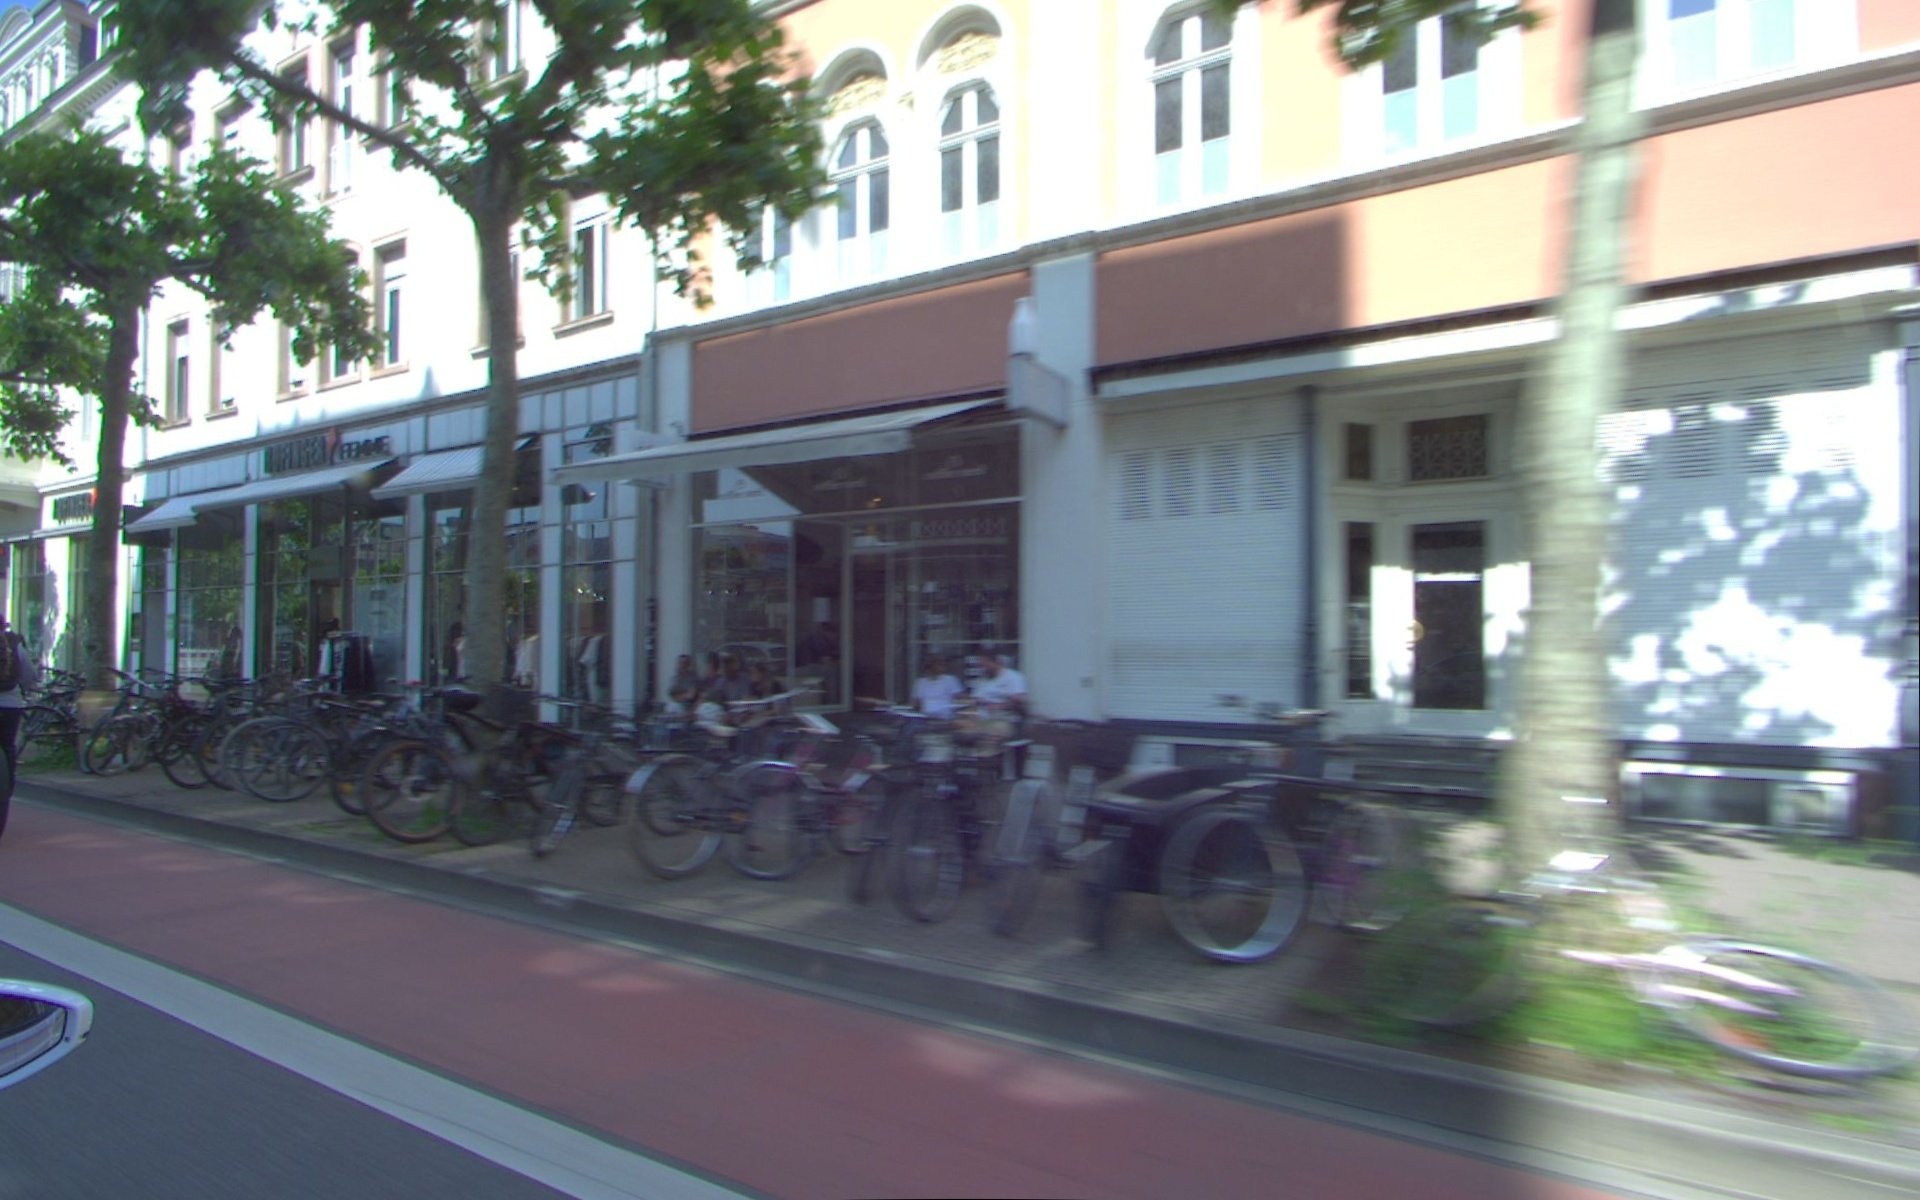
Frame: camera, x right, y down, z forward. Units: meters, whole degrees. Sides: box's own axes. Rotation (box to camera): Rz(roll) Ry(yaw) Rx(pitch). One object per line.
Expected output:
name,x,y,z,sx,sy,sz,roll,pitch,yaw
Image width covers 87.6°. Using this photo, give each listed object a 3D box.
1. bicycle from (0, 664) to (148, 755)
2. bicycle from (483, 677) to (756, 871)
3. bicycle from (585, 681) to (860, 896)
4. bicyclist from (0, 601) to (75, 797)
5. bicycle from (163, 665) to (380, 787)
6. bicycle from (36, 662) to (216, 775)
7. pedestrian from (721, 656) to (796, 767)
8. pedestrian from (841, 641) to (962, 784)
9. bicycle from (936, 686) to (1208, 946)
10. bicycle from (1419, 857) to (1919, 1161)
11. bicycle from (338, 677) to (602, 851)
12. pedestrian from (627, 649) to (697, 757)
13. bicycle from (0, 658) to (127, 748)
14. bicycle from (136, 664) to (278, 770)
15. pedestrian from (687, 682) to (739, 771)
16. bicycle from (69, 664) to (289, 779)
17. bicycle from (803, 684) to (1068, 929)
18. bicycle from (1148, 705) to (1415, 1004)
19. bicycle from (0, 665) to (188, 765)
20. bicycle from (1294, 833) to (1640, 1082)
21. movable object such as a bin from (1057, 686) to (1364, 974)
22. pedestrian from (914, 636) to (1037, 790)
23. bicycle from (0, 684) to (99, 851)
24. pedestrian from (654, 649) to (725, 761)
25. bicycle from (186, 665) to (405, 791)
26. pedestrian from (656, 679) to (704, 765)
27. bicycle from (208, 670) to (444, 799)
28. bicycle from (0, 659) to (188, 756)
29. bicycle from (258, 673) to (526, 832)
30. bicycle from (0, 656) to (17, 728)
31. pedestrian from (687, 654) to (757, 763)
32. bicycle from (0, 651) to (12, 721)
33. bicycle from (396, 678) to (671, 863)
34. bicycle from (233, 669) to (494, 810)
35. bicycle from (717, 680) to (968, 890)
bicycle,-11.801,1.403,13.041,0.555,1.106,1.844,0,-4,21
bicycle,-2.350,1.150,7.153,0.657,1.141,1.837,-2,-3,33
bicycle,-1.482,1.138,6.595,0.634,1.141,1.837,-2,-3,33
bicyclist,-7.569,0.755,7.769,0.946,1.463,0.698,-1,-4,28
bicycle,-7.133,1.262,10.481,0.442,1.141,1.836,-2,-3,34
bicycle,-9.321,1.281,11.298,0.582,1.141,1.847,0,-3,-4
pedestrian,-2.425,1.324,12.067,0.599,1.269,0.638,-2,-1,29
pedestrian,-0.617,1.180,10.908,0.778,1.440,1.232,-2,-2,29
bicycle,0.697,1.092,5.629,0.658,1.141,1.833,-2,-3,38
bicycle,2.996,1.560,3.981,1.823,0.440,1.137,-9,6,6
bicycle,-3.713,1.192,7.769,0.523,1.141,1.837,-2,-3,33
pedestrian,-3.865,1.317,13.000,0.524,1.349,0.681,0,-2,29
bicycle,-12.270,1.345,13.216,0.621,1.140,1.844,0,-5,21
bicycle,-8.893,1.338,11.909,0.439,1.141,1.847,-1,-3,-6
pedestrian,-2.855,1.450,11.577,0.431,0.980,0.364,0,-2,33
bicycle,-8.398,1.279,10.866,1.820,1.141,0.446,1,-3,-31
bicycle,-0.070,1.105,5.930,0.657,1.141,1.837,-2,-3,33
bicycle,1.573,1.073,4.683,1.829,1.140,0.342,6,-4,-44
bicycle,-10.470,1.345,11.977,0.556,1.106,1.839,-1,-4,31
bicycle,2.206,1.422,4.200,1.020,0.395,1.851,-40,-30,22
movable object such as a bin,1.359,1.071,5.171,1.840,1.203,0.647,5,-5,-44
pedestrian,0.187,1.150,10.597,0.824,1.502,1.251,-1,-3,29
bicycle,-7.632,1.241,7.778,2.049,1.140,0.698,-1,-4,28
pedestrian,-3.405,1.295,12.623,0.524,1.355,0.681,0,-2,29
bicycle,-6.738,1.254,10.259,0.442,1.141,1.836,-2,-3,34
pedestrian,-3.361,1.452,12.010,0.431,0.980,0.340,0,-2,33
bicycle,-6.119,1.273,9.758,0.524,1.140,1.831,-3,-6,43
bicycle,-11.107,1.353,12.777,0.752,1.140,1.845,-1,-5,18
bicycle,-4.663,1.196,8.363,0.670,1.141,1.837,-2,-3,33
bicycle,-15.985,1.424,15.555,0.489,1.140,1.843,1,-4,23
pedestrian,-2.934,1.313,12.365,0.524,1.269,0.680,0,0,29
bicycle,-17.134,1.460,16.828,0.566,1.211,1.782,1,-3,4
bicycle,-3.096,1.179,7.466,0.657,1.141,1.837,-2,-3,33
bicycle,-5.527,1.235,9.378,0.754,1.141,1.975,-3,-4,44
bicycle,-0.716,1.140,6.710,0.657,1.141,1.837,-2,-3,33
